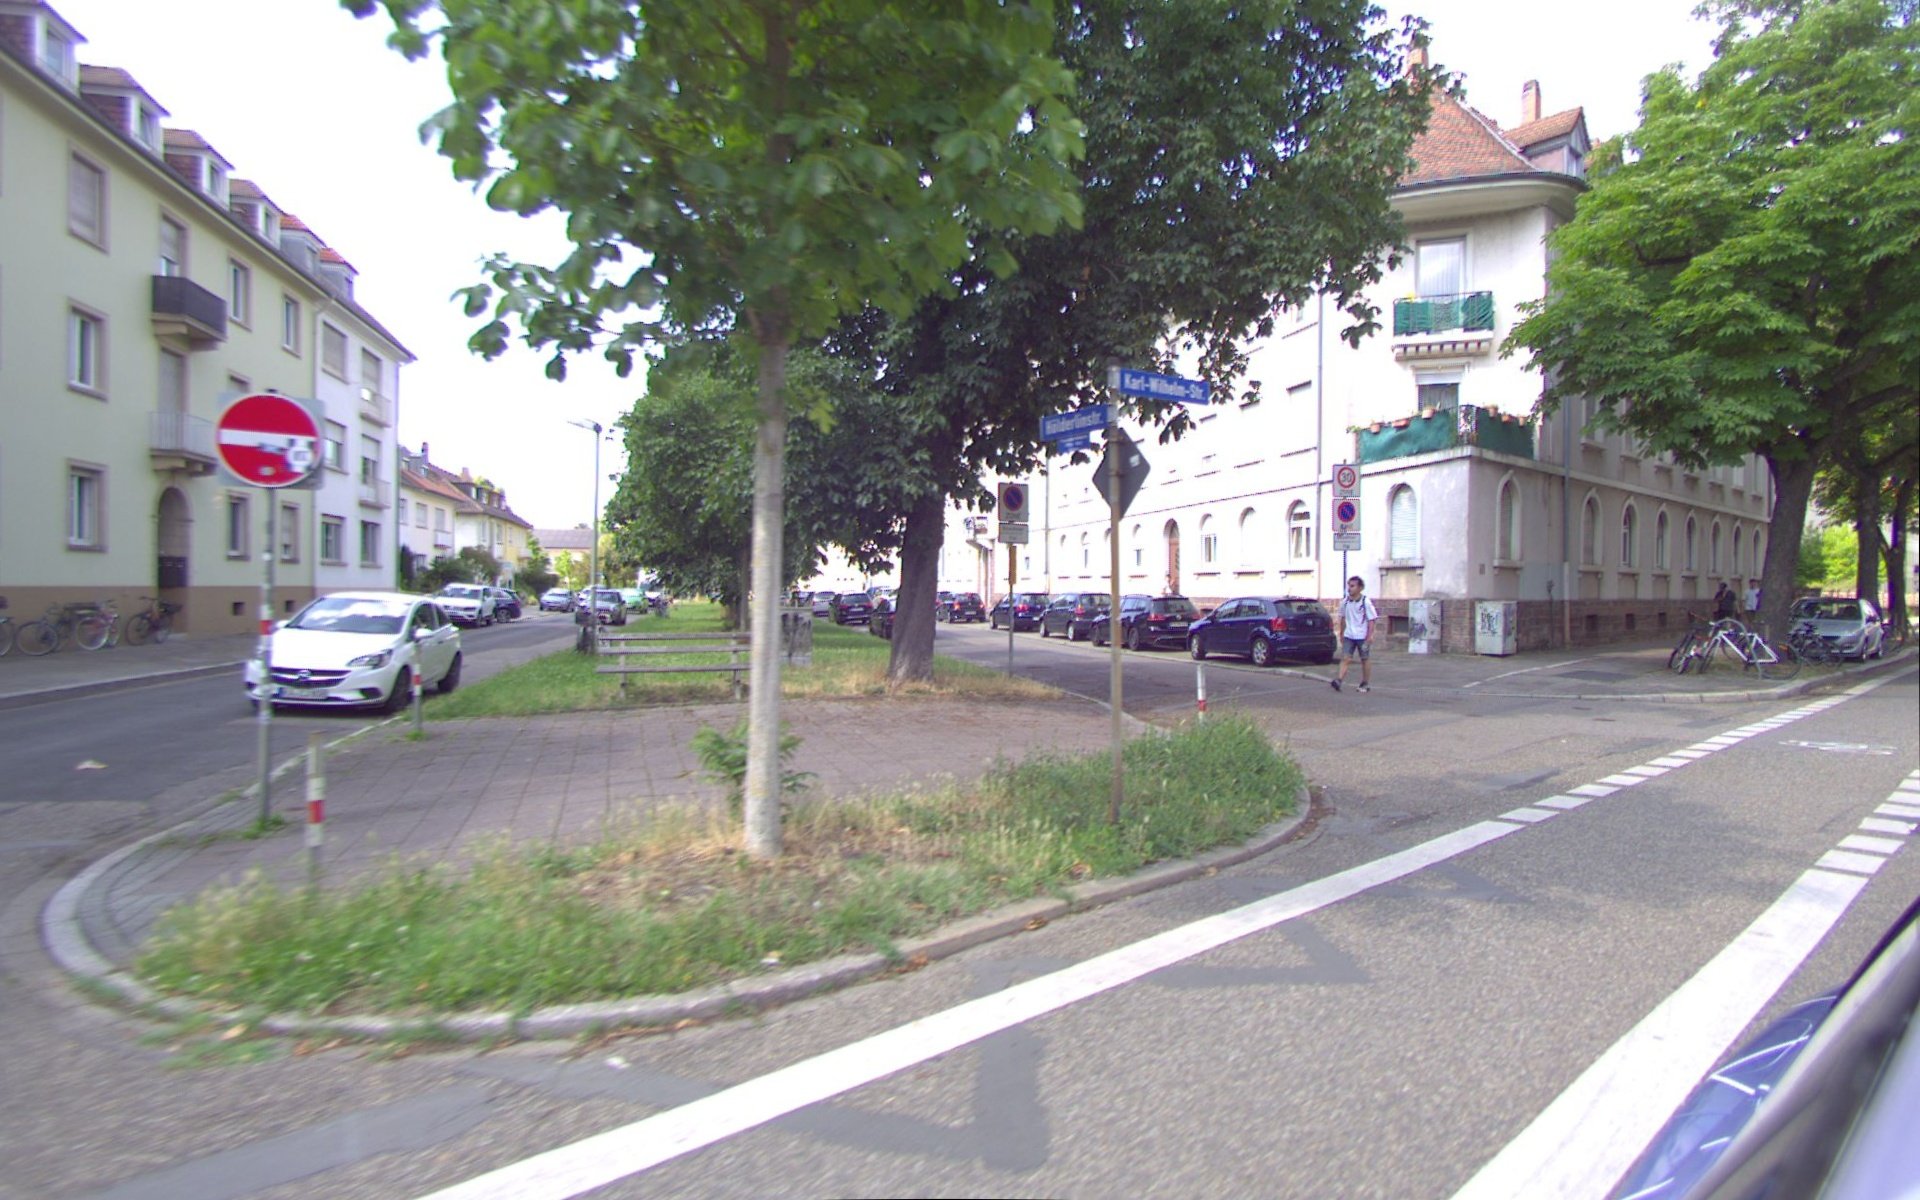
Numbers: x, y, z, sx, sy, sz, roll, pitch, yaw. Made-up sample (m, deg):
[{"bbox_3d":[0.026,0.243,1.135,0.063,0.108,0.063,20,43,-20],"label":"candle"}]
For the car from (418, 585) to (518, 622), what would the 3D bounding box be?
[{"bbox_3d":[-22.104,0.160,45.660,3.835,1.517,1.902,2,0,-20],"label":"car"}]

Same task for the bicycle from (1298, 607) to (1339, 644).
[{"bbox_3d":[8.669,0.613,24.493,0.339,0.854,1.209,0,0,-13],"label":"bicycle"}]

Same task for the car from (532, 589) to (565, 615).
[{"bbox_3d":[-25.147,0.091,61.928,1.357,1.517,3.340,2,0,-14],"label":"car"}]

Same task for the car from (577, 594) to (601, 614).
[{"bbox_3d":[-29.016,0.306,79.135,1.357,1.517,3.340,2,0,-14],"label":"car"}]

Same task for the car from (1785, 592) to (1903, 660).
[{"bbox_3d":[20.761,0.549,23.723,3.830,1.463,1.588,0,0,-41],"label":"car"}]

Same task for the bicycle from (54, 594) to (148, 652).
[{"bbox_3d":[-18.748,0.472,22.155,0.668,1.162,2.520,3,-1,-20],"label":"bicycle"}]

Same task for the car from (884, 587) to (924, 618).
[{"bbox_3d":[-3.410,0.119,61.129,1.695,1.757,3.940,0,1,-14],"label":"car"}]

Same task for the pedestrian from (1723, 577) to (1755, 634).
[{"bbox_3d":[23.414,0.159,30.421,0.959,1.660,0.581,0,0,-41],"label":"pedestrian"}]

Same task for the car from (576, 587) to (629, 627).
[{"bbox_3d":[-14.865,0.262,42.226,1.694,1.517,3.627,2,0,-14],"label":"car"}]

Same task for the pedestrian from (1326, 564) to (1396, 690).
[{"bbox_3d":[6.120,0.388,15.435,1.013,1.857,0.618,0,0,-43],"label":"pedestrian"}]

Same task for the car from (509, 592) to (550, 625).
[{"bbox_3d":[-21.527,0.412,50.704,1.357,1.517,3.340,2,0,-14],"label":"car"}]

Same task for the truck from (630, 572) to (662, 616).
[{"bbox_3d":[-22.691,-0.429,73.195,1.821,2.989,4.267,2,0,-14],"label":"truck"}]

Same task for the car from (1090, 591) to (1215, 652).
[{"bbox_3d":[5.065,0.511,27.222,1.695,1.470,4.265,0,1,-14],"label":"car"}]

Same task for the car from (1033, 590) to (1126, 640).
[{"bbox_3d":[3.787,0.435,32.755,1.695,1.530,3.940,0,1,-14],"label":"car"}]

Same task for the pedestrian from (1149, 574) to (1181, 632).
[{"bbox_3d":[6.695,0.092,33.123,0.810,1.857,0.732,0,0,-10],"label":"pedestrian"}]

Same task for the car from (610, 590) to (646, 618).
[{"bbox_3d":[-19.566,0.233,59.785,1.694,1.517,3.627,2,0,-14],"label":"car"}]

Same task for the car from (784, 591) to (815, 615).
[{"bbox_3d":[-10.955,0.188,68.921,1.613,1.515,4.008,-1,0,-15],"label":"car"}]

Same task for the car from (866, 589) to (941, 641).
[{"bbox_3d":[-1.926,0.443,33.360,1.696,1.530,3.940,-3,1,-14],"label":"car"}]

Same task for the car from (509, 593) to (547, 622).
[{"bbox_3d":[-23.843,0.389,55.979,1.357,1.517,3.340,2,0,-14],"label":"car"}]

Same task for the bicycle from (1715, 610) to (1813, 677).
[{"bbox_3d":[13.796,0.721,17.387,0.470,1.079,1.270,0,0,-41],"label":"bicycle"}]

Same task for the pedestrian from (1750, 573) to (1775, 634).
[{"bbox_3d":[24.798,0.103,31.271,0.675,1.876,0.505,0,0,-41],"label":"pedestrian"}]

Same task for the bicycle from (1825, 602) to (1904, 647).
[{"bbox_3d":[24.161,0.634,27.060,0.508,1.167,1.493,0,0,-34],"label":"bicycle"}]

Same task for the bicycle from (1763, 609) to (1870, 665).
[{"bbox_3d":[17.621,0.734,20.861,0.342,1.084,1.651,0,0,-37],"label":"bicycle"}]

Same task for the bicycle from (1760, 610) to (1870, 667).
[{"bbox_3d":[17.152,0.755,20.339,0.342,1.084,1.652,0,0,-36],"label":"bicycle"}]

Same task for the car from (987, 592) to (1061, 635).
[{"bbox_3d":[2.380,0.453,38.369,1.695,1.530,3.940,0,1,-14],"label":"car"}]

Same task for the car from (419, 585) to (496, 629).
[{"bbox_3d":[-19.832,0.250,40.138,1.858,1.598,4.075,2,0,-14],"label":"car"}]

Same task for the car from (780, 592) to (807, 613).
[{"bbox_3d":[-12.650,0.190,76.638,1.613,1.515,4.008,-1,0,-15],"label":"car"}]

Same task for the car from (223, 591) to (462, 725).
[{"bbox_3d":[-8.110,0.679,13.668,1.694,1.517,3.627,2,0,-14],"label":"car"}]

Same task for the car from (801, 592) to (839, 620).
[{"bbox_3d":[-7.974,0.312,57.402,1.613,1.515,4.008,-1,0,-16],"label":"car"}]

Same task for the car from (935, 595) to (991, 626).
[{"bbox_3d":[0.087,0.444,46.612,1.695,1.368,3.940,0,1,-14],"label":"car"}]

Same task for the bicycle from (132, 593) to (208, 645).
[{"bbox_3d":[-19.375,0.438,24.882,0.668,1.162,2.520,3,-1,-20],"label":"bicycle"}]

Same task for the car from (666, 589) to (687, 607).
[{"bbox_3d":[-25.931,-0.210,92.786,1.694,1.517,3.627,2,0,-14],"label":"car"}]

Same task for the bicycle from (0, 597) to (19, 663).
[{"bbox_3d":[-17.118,0.538,17.190,0.668,1.162,2.520,3,-1,-20],"label":"bicycle"}]

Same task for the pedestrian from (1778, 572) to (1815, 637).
[{"bbox_3d":[25.343,0.130,30.662,0.871,1.913,0.755,0,0,-41],"label":"pedestrian"}]

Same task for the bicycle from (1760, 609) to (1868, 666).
[{"bbox_3d":[17.378,0.749,20.629,0.342,1.084,1.652,0,0,-36],"label":"bicycle"}]

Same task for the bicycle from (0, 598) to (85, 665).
[{"bbox_3d":[-18.011,0.581,19.619,0.668,1.162,2.520,3,-1,-20],"label":"bicycle"}]

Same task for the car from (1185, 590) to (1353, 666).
[{"bbox_3d":[6.471,0.532,21.601,1.695,1.470,3.582,0,1,-18],"label":"car"}]

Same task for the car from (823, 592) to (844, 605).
[{"bbox_3d":[-13.095,-0.186,104.339,1.695,1.368,3.940,0,1,-14],"label":"car"}]

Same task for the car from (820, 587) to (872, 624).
[{"bbox_3d":[-5.013,0.237,44.195,1.613,1.515,4.008,-1,0,-16],"label":"car"}]

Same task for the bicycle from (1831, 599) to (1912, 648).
[{"bbox_3d":[23.866,0.600,26.515,0.508,1.236,1.493,-1,1,-34],"label":"bicycle"}]

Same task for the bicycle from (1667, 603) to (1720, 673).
[{"bbox_3d":[13.097,0.642,18.045,0.584,1.173,1.809,0,0,42],"label":"bicycle"}]
